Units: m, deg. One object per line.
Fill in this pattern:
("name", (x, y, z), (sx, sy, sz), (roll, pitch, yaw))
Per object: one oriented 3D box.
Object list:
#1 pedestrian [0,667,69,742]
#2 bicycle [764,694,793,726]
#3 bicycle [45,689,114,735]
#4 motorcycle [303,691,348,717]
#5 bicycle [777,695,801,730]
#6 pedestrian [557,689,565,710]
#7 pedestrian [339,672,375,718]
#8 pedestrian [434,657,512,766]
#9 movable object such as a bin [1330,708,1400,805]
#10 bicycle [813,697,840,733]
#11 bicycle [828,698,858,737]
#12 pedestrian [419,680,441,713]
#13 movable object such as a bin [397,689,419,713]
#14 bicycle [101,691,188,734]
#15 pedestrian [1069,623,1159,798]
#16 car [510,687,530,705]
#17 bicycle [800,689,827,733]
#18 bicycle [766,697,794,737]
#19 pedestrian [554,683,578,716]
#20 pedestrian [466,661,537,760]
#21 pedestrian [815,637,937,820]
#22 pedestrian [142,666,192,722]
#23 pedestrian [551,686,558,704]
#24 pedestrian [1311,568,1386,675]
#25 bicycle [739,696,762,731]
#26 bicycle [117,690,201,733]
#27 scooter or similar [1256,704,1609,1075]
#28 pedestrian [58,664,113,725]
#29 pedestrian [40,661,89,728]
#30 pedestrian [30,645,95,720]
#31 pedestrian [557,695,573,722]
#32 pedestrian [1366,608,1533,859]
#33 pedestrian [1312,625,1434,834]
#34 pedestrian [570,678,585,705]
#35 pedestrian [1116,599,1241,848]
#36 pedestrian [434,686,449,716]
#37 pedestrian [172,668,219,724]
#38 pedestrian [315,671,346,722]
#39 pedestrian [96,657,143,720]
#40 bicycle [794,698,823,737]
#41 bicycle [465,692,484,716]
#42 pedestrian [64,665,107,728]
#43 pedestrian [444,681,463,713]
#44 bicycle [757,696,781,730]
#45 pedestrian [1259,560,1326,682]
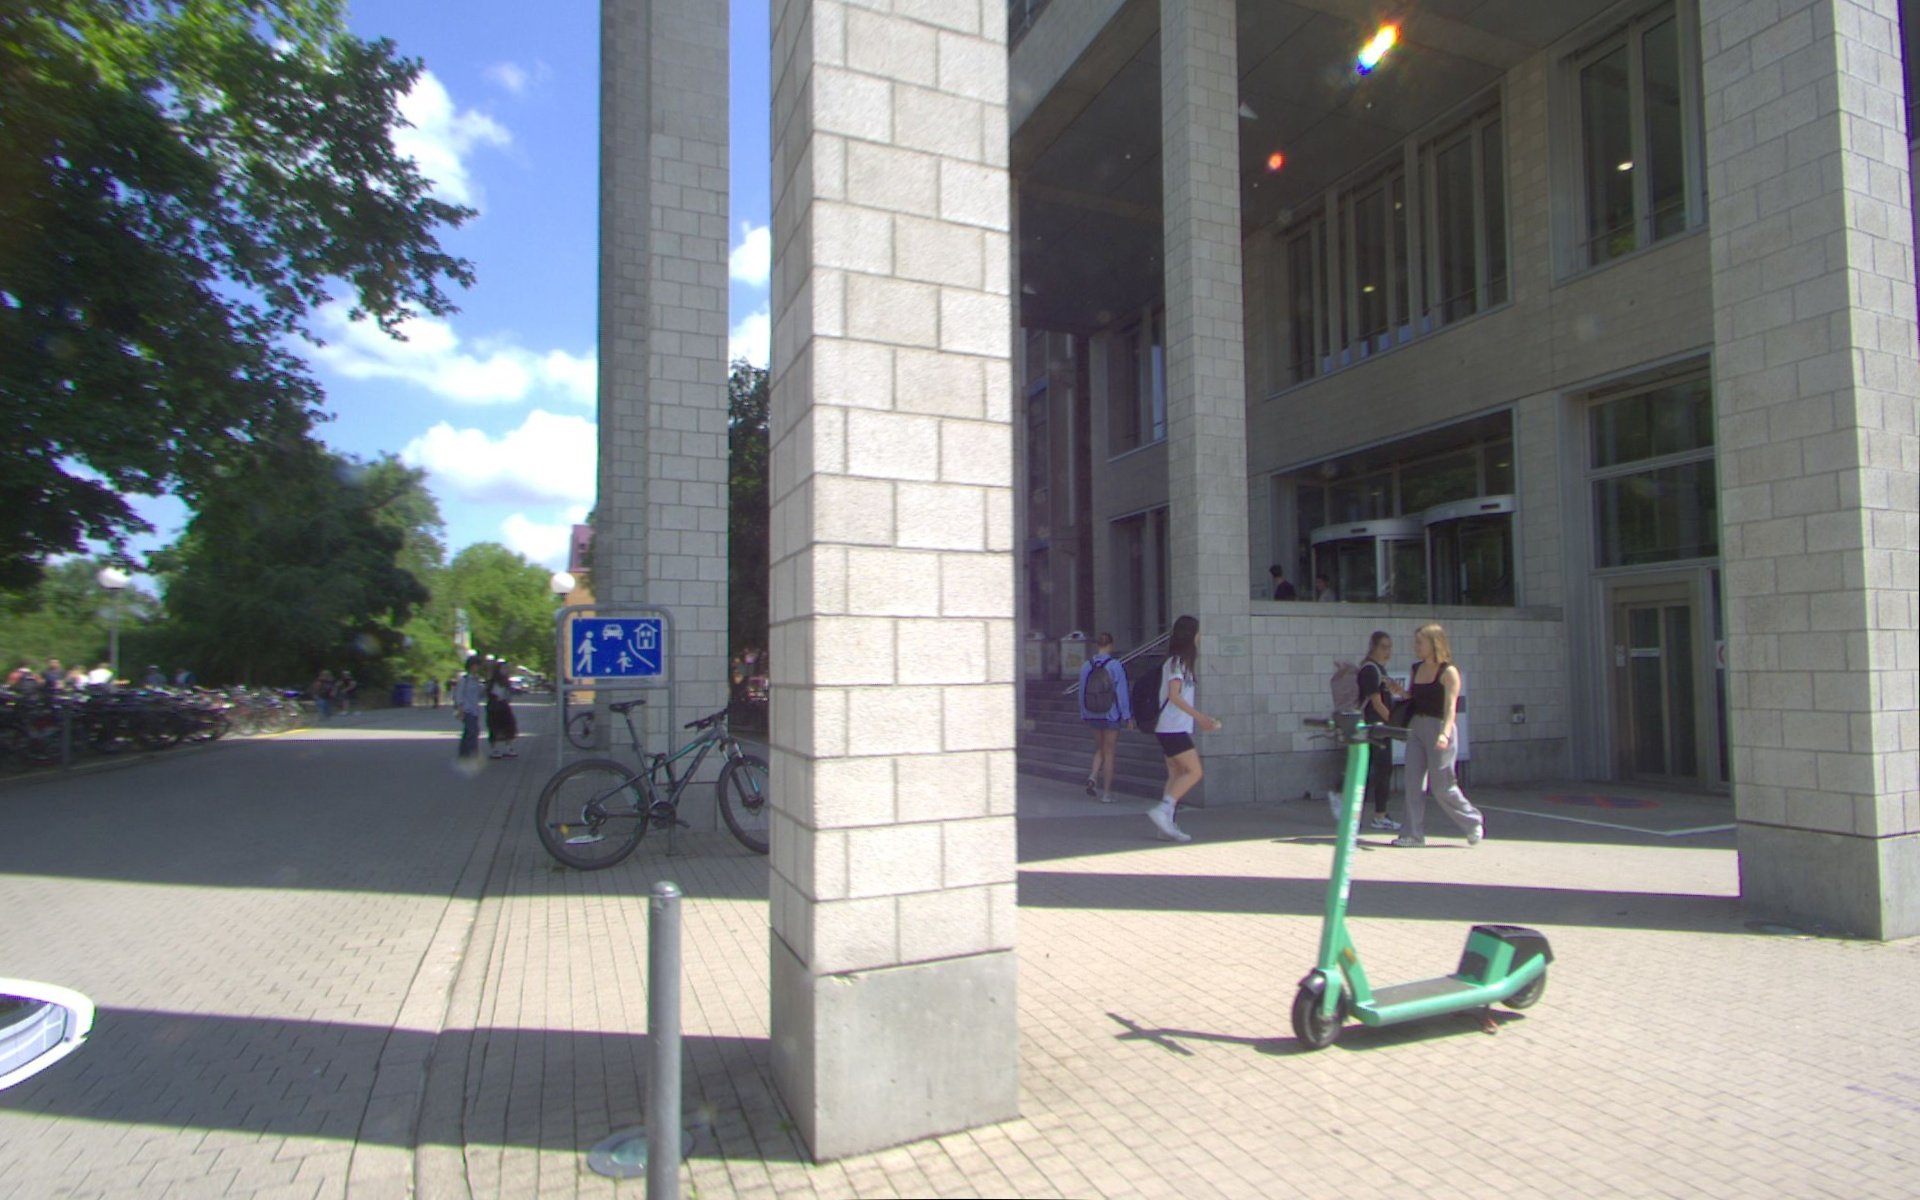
("pedestrian", (-22.276, 2.494, 24.036), (0.705, 1.745, 1.065), (-1, -3, 10))
("bicycle", (-5.597, 3.366, 30.793), (0.287, 0.916, 1.797), (2, -5, -30))
("bicycle", (-21.592, 2.731, 24.547), (1.670, 1.096, 0.474), (-2, -5, 20))
("motorcycle", (-27.155, 4.447, 42.855), (1.991, 1.059, 0.474), (0, -4, 21))
("bicycle", (-4.776, 3.133, 27.978), (0.287, 0.916, 1.444), (1, -5, -25))
("pedestrian", (-33.985, 8.476, 85.332), (0.578, 1.692, 0.698), (0, -5, -20))
("pedestrian", (-24.333, 3.837, 40.444), (0.603, 1.857, 1.050), (-1, -5, 15))
("pedestrian", (-7.788, 1.768, 16.034), (0.883, 1.690, 0.675), (-1, -3, 15))
("movable object such as a bin", (4.194, 1.608, 10.388), (0.369, 0.949, 0.547), (3, -5, -41))
("bicycle", (-3.492, 2.985, 26.134), (0.287, 0.898, 1.444), (1, -5, -25))
("bicycle", (-2.895, 2.890, 24.696), (0.287, 0.916, 1.444), (1, -5, -25))
("pedestrian", (-31.018, 5.649, 58.596), (1.107, 1.866, 0.779), (-4, -6, 44))
("movable object such as a bin", (-31.820, 5.803, 57.742), (0.698, 1.351, 1.240), (3, -5, -12))
("bicycle", (-21.226, 2.917, 26.085), (1.691, 1.096, 0.474), (1, -5, -9))
("pedestrian", (1.626, 1.138, 10.543), (0.635, 1.745, 0.862), (-2, -4, 32))
("car", (-51.006, 11.149, 116.142), (1.859, 1.997, 5.205), (2, -5, -22))
("bicycle", (-3.808, 2.863, 26.002), (0.287, 1.107, 1.444), (1, -5, -25))
("bicycle", (-4.372, 2.816, 24.254), (0.287, 0.916, 1.444), (1, -5, -25))
("pedestrian", (-22.259, 5.623, 56.570), (1.020, 1.879, 0.883), (4, -6, -35))
("pedestrian", (-7.848, 1.885, 17.153), (0.729, 1.636, 0.806), (-2, -4, 24))
("pedestrian", (-0.791, 1.168, 9.347), (0.809, 1.593, 0.876), (2, -4, -33))
("pedestrian", (-26.476, 3.123, 33.452), (0.756, 1.825, 0.983), (-1, -4, 18))
("pedestrian", (-39.459, 9.264, 97.430), (0.578, 1.692, 0.816), (0, -5, -20))
("pedestrian", (6.262, 0.363, 16.168), (0.866, 1.675, 0.703), (0, -3, -6))
("bicycle", (-5.742, 3.083, 27.381), (0.287, 0.916, 1.444), (1, -5, -25))
("bicycle", (-21.247, 2.959, 26.591), (1.668, 1.123, 0.474), (1, -5, -10))
("scooter or similar", (1.708, 0.977, 3.646), (1.138, 1.165, 0.444), (1, -3, -18))
("pedestrian", (-25.647, 2.762, 29.388), (0.674, 1.744, 0.903), (-1, -5, 21))
("pedestrian", (-23.741, 2.500, 26.561), (0.675, 1.744, 0.730), (3, -5, -24))
("pedestrian", (-22.644, 2.083, 25.277), (0.673, 1.857, 0.941), (-1, -3, 12))
("pedestrian", (-24.645, 6.781, 62.491), (0.839, 1.670, 0.588), (1, -5, -14))
("pedestrian", (3.525, 0.940, 7.236), (0.870, 1.674, 0.700), (4, -5, -30))
("pedestrian", (3.410, 1.038, 8.266), (0.815, 1.618, 0.587), (-2, -4, 32))
("pedestrian", (-25.559, 6.134, 66.915), (0.888, 1.747, 0.685), (0, -6, -16))
("pedestrian", (1.639, 0.900, 7.521), (0.844, 1.745, 0.780), (-1, -3, 13))
("pedestrian", (-28.072, 5.476, 54.181), (0.563, 1.629, 0.914), (3, -6, -33))
("pedestrian", (-25.547, 3.208, 33.476), (0.820, 1.836, 0.882), (-1, -4, 17))
("pedestrian", (-21.561, 3.293, 34.307), (0.758, 1.700, 0.904), (1, -4, -26))
("pedestrian", (-23.940, 2.510, 28.536), (0.927, 1.745, 0.673), (2, -4, -38))
("bicycle", (-3.690, 2.845, 24.377), (0.287, 0.916, 1.444), (1, -5, -25))
("bicycle", (-23.874, 5.115, 49.235), (0.762, 1.163, 2.104), (1, -6, -24))
("pedestrian", (-24.736, 2.711, 28.331), (0.721, 1.745, 0.683), (-2, -4, 32))
("pedestrian", (-30.372, 5.812, 60.099), (0.671, 1.865, 0.784), (0, -5, -1))
("bicycle", (-5.288, 3.113, 27.668), (0.287, 0.916, 1.444), (1, -5, -25))
("pedestrian", (5.161, 0.352, 15.531), (0.869, 1.825, 0.701), (-2, -4, 27))
